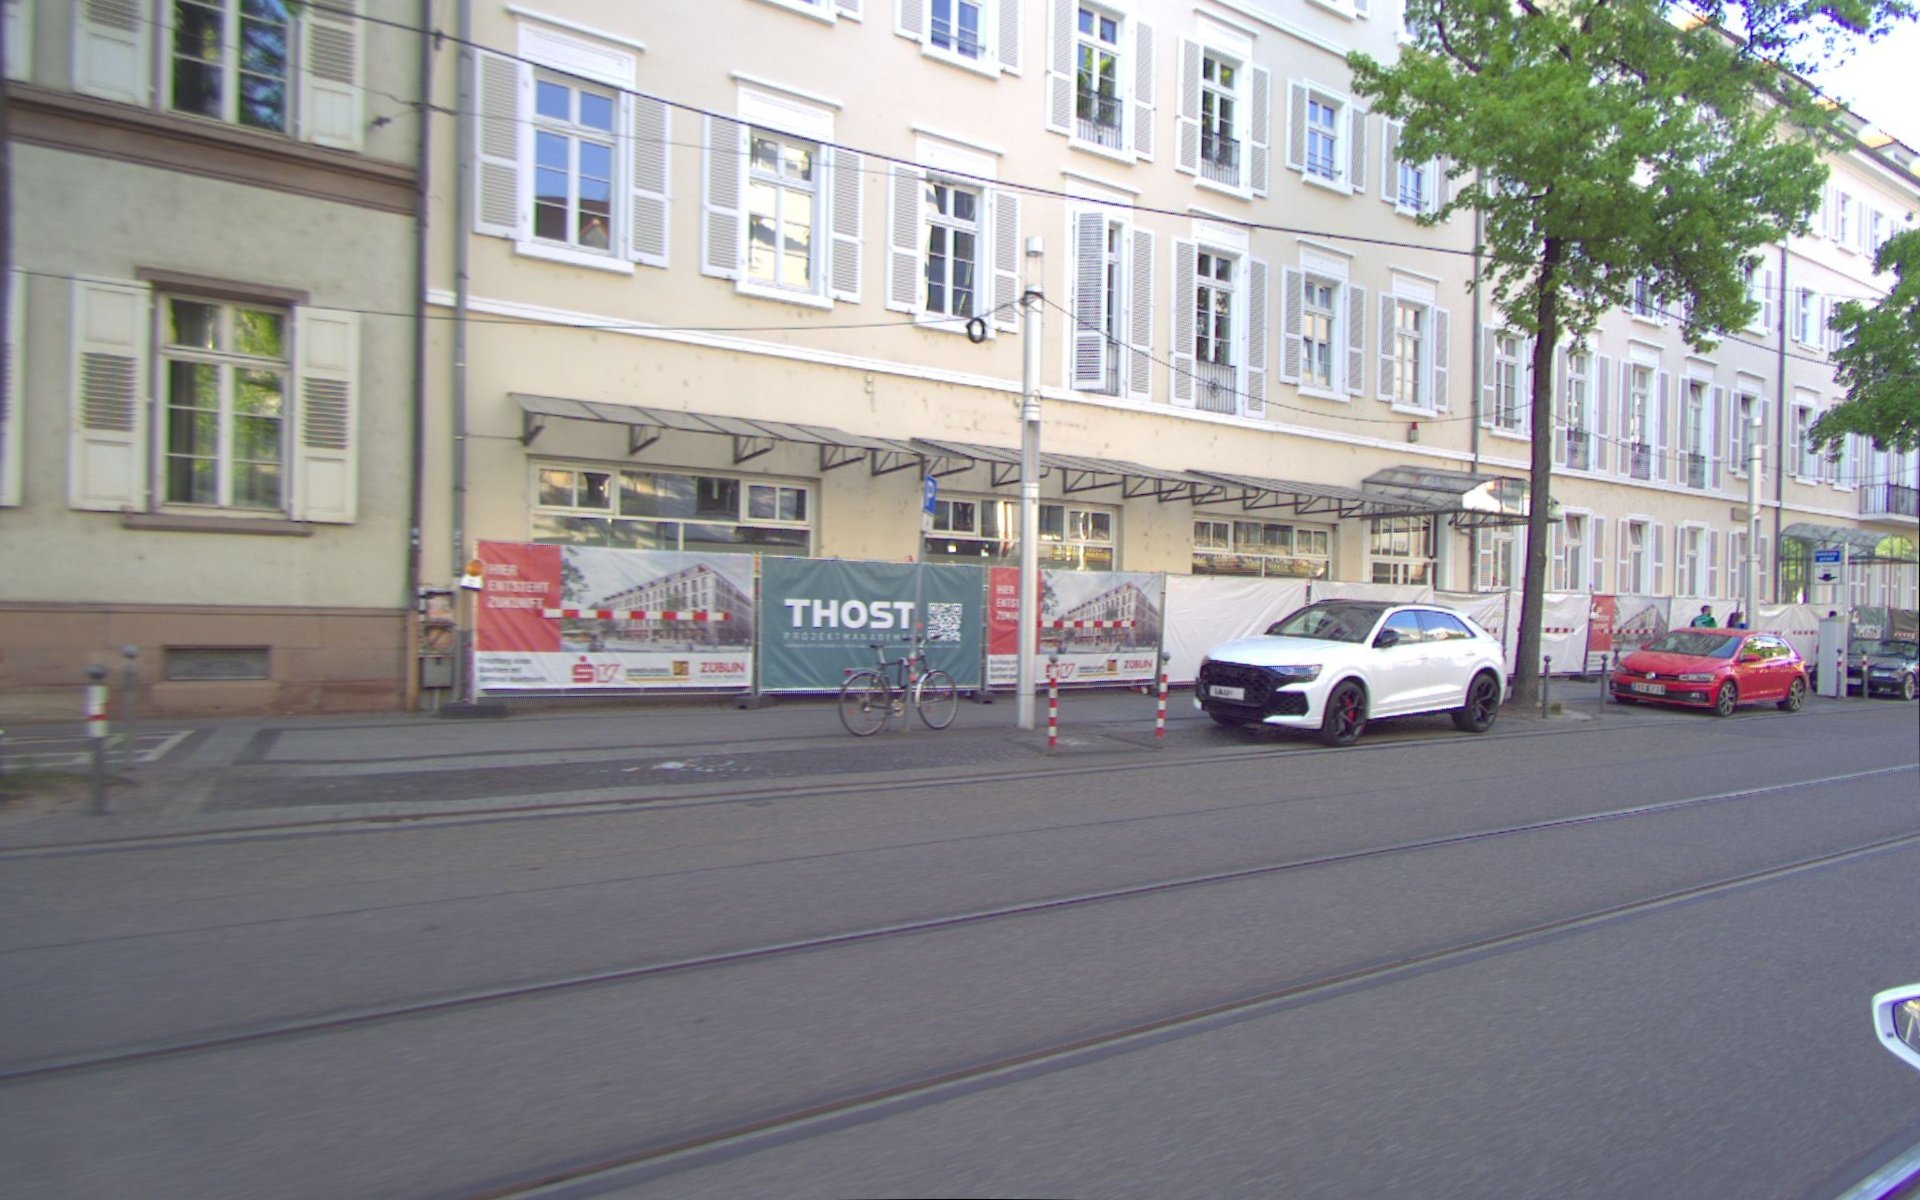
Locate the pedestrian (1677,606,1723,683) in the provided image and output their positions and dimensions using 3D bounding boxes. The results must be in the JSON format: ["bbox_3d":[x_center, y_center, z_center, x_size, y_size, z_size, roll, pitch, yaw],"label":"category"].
[{"bbox_3d":[17.848,1.061,24.220,0.669,1.830,0.703,1,0,-35],"label":"pedestrian"}]

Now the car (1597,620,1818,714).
[{"bbox_3d":[13.740,1.179,18.419,4.182,1.519,1.681,2,0,-29],"label":"car"}]

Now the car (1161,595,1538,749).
[{"bbox_3d":[5.228,0.859,13.322,4.952,1.714,1.953,2,0,-29],"label":"car"}]

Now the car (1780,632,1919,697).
[{"bbox_3d":[20.834,1.424,22.964,3.953,1.309,1.984,1,0,-30],"label":"car"}]

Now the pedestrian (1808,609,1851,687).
[{"bbox_3d":[23.145,1.256,26.731,0.668,2.031,0.703,1,0,-33],"label":"pedestrian"}]

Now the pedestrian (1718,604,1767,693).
[{"bbox_3d":[18.253,1.107,23.425,0.668,2.031,0.703,1,0,-33],"label":"pedestrian"}]

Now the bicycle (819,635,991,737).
[{"bbox_3d":[-0.602,0.948,11.563,1.990,1.064,0.589,1,0,-37],"label":"bicycle"}]
